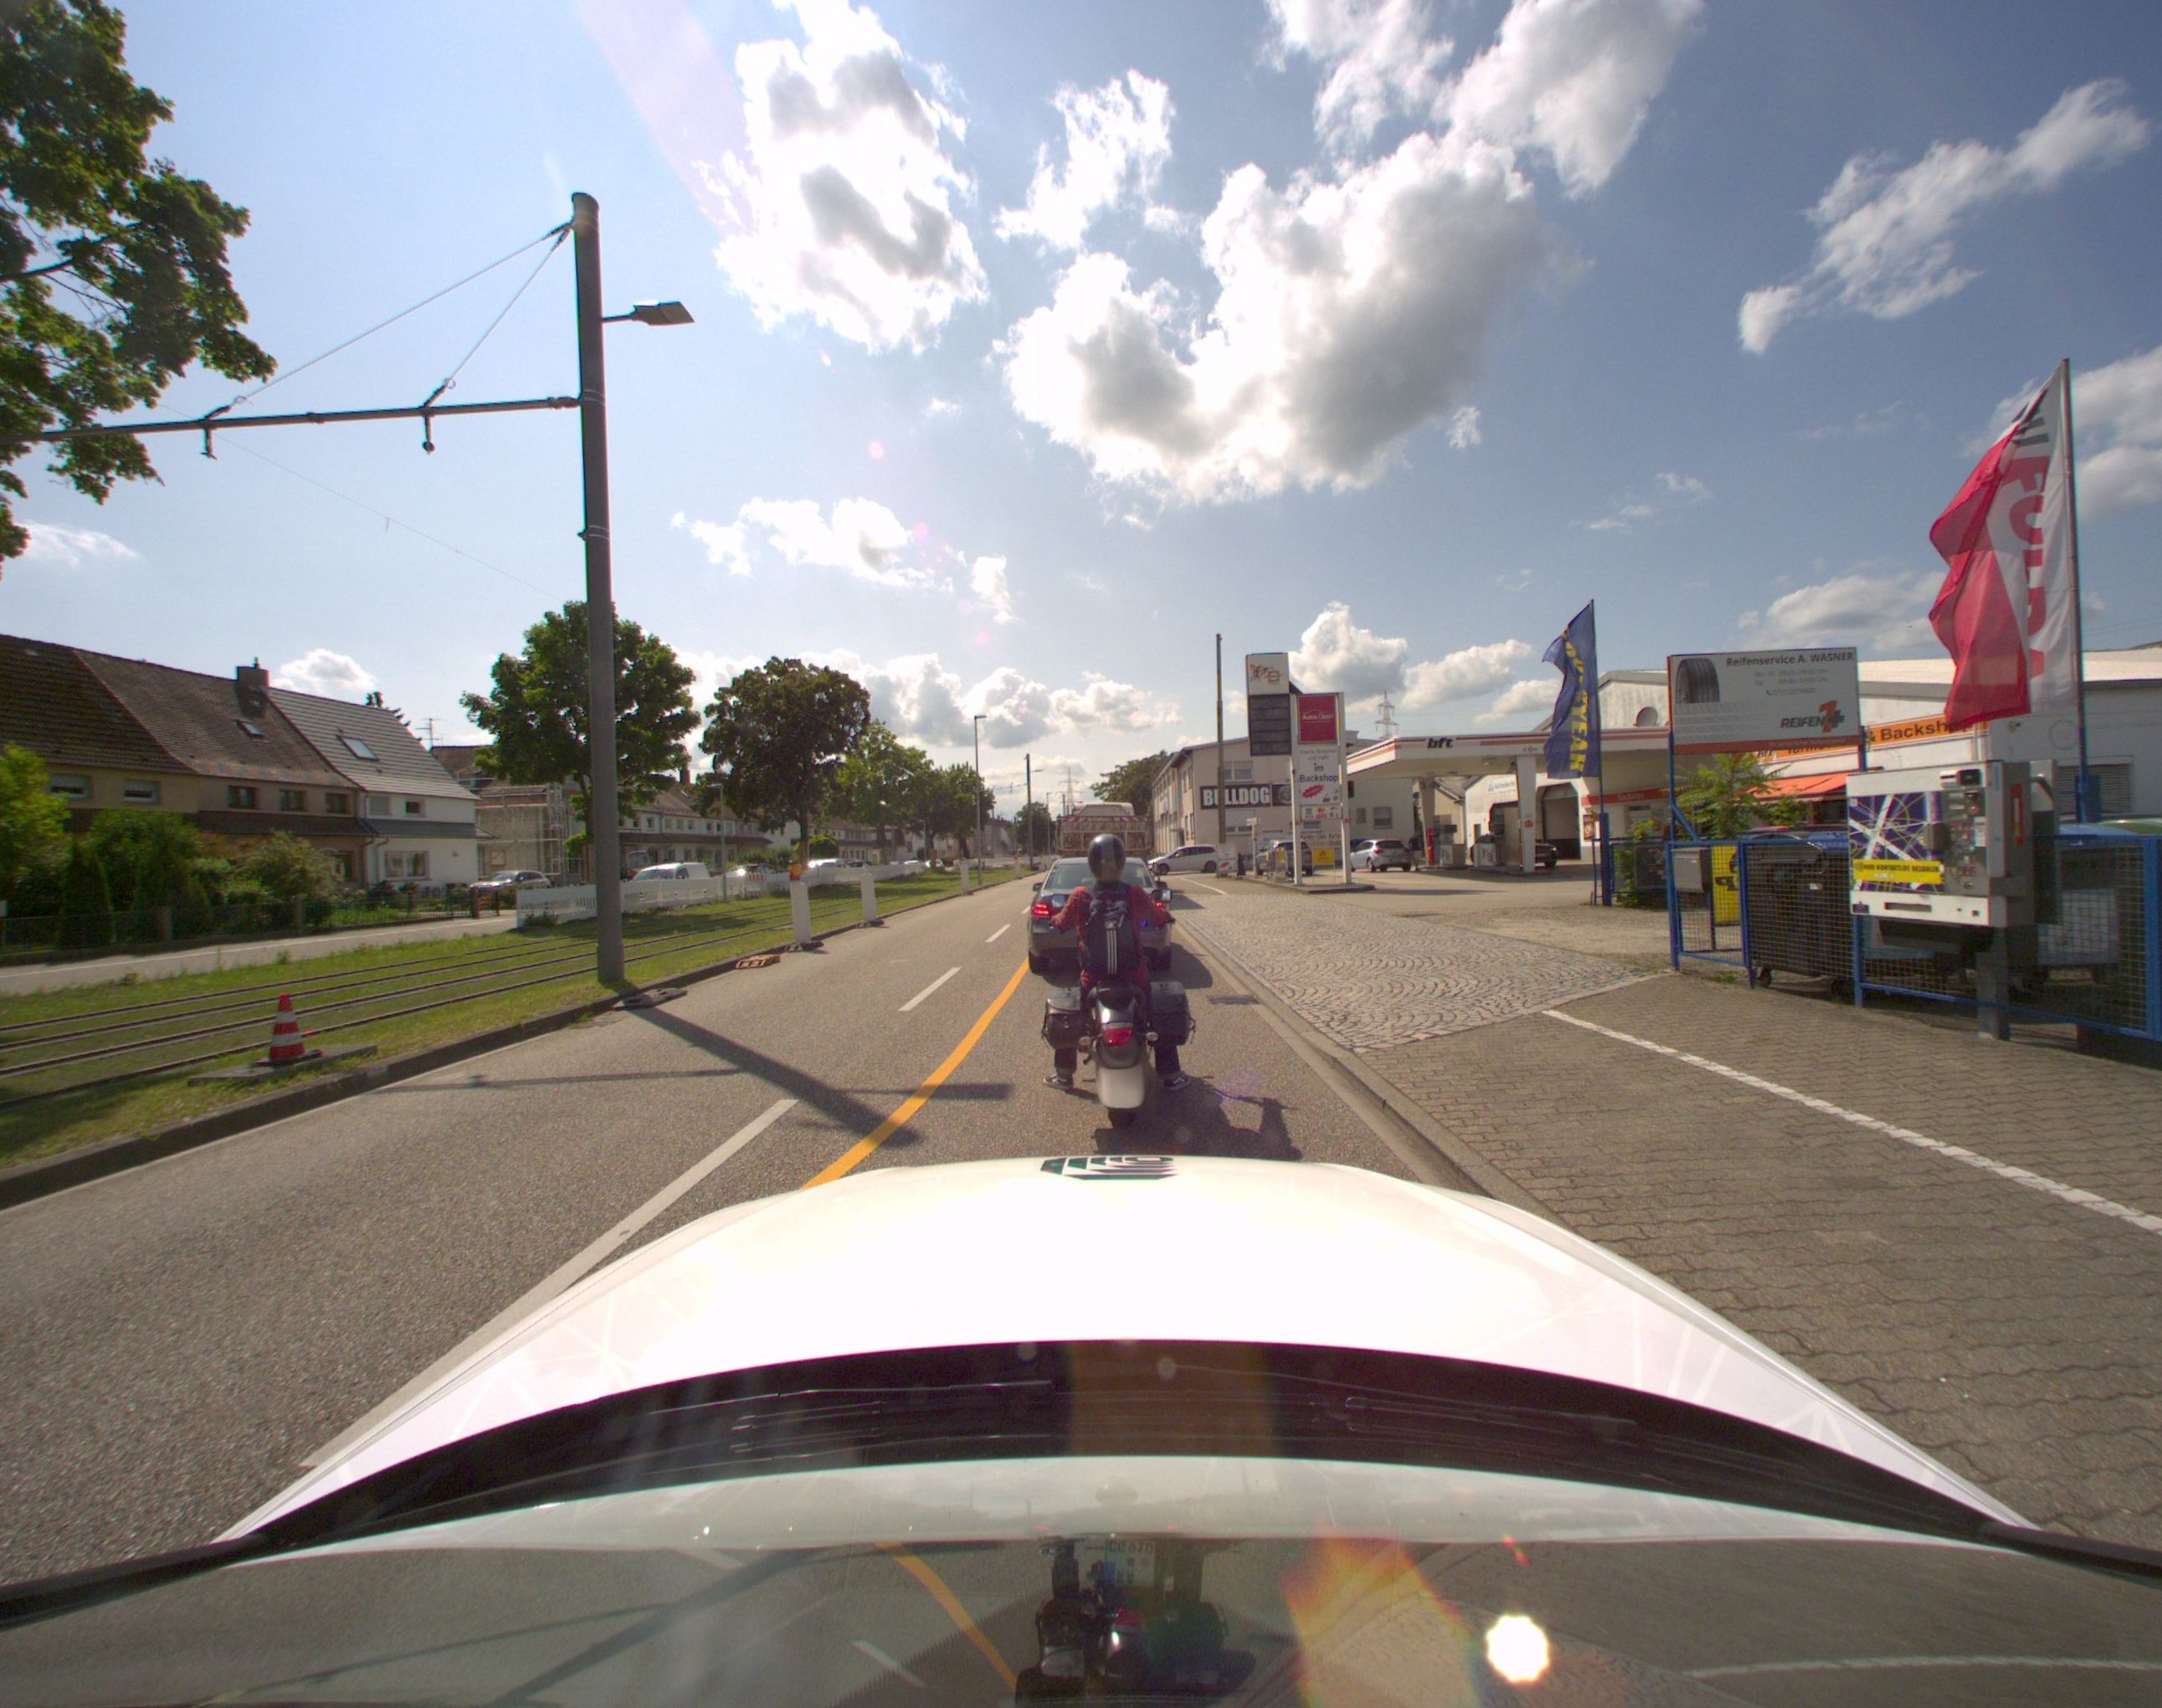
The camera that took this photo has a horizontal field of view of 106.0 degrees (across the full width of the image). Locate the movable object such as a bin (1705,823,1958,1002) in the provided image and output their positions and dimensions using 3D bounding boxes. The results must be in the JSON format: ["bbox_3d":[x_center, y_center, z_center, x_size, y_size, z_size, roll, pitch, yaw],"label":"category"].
[{"bbox_3d":[6.687,0.479,7.359,1.104,1.436,1.244,-2,0,1],"label":"movable object such as a bin"}]

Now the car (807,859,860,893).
[{"bbox_3d":[-15.065,1.327,49.862,1.769,1.867,4.130,-2,0,2],"label":"car"}]

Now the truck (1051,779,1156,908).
[{"bbox_3d":[0.726,-0.288,25.500,2.628,3.296,8.059,-2,0,2],"label":"truck"}]

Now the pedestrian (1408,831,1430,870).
[{"bbox_3d":[14.651,-0.133,35.318,0.701,1.656,0.551,-2,0,37],"label":"pedestrian"}]

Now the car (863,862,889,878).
[{"bbox_3d":[-24.388,1.835,97.044,1.769,1.722,4.130,-2,0,2],"label":"car"}]

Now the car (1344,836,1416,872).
[{"bbox_3d":[13.475,-0.009,36.920,1.800,1.503,3.832,-2,0,-1],"label":"car"}]

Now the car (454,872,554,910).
[{"bbox_3d":[-27.438,1.726,38.896,1.769,1.519,4.002,-2,0,2],"label":"car"}]

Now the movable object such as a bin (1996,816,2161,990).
[{"bbox_3d":[9.484,0.375,7.131,1.397,1.396,1.338,-2,0,1],"label":"movable object such as a bin"}]

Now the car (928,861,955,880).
[{"bbox_3d":[-13.728,1.629,80.456,1.769,1.722,4.130,-2,0,2],"label":"car"}]

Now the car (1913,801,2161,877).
[{"bbox_3d":[21.520,-0.341,18.165,4.180,1.463,1.587,-2,0,2],"label":"car"}]

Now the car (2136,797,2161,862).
[{"bbox_3d":[26.524,-0.637,18.001,4.180,1.463,1.587,-2,0,2],"label":"car"}]

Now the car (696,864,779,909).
[{"bbox_3d":[-15.408,1.411,36.800,1.769,1.774,4.230,-2,0,2],"label":"car"}]

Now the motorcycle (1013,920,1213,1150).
[{"bbox_3d":[0.202,1.026,5.445,0.975,0.897,2.654,-2,0,2],"label":"motorcycle"}]

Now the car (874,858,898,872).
[{"bbox_3d":[-25.159,1.398,105.205,1.769,1.722,4.130,-2,0,2],"label":"car"}]

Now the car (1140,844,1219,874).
[{"bbox_3d":[5.686,0.290,47.038,4.225,1.543,1.669,-2,0,-7],"label":"car"}]

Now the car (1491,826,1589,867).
[{"bbox_3d":[18.648,-0.285,33.311,1.800,1.503,3.833,-2,0,0],"label":"car"}]

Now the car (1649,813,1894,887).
[{"bbox_3d":[15.772,-0.089,18.758,4.180,1.463,1.587,-2,0,2],"label":"car"}]

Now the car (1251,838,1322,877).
[{"bbox_3d":[9.115,0.149,36.453,1.665,1.562,4.235,-2,0,-6],"label":"car"}]

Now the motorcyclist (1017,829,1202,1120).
[{"bbox_3d":[0.177,0.677,5.141,0.975,1.602,1.088,-2,0,1],"label":"motorcyclist"}]

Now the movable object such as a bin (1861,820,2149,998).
[{"bbox_3d":[8.081,0.445,7.219,1.104,1.396,1.244,-2,0,1],"label":"movable object such as a bin"}]

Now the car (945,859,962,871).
[{"bbox_3d":[-19.631,1.629,125.918,1.769,1.722,4.130,-2,0,2],"label":"car"}]

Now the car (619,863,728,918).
[{"bbox_3d":[-15.434,1.316,31.157,1.769,1.821,4.366,-2,0,2],"label":"car"}]

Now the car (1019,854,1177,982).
[{"bbox_3d":[0.256,0.743,11.416,1.816,1.452,4.002,0,0,2],"label":"car"}]

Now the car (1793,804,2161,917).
[{"bbox_3d":[13.470,0.076,11.998,4.249,1.415,1.677,-3,0,7],"label":"car"}]

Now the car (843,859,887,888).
[{"bbox_3d":[-14.805,1.334,56.039,1.769,1.805,4.130,-2,0,2],"label":"car"}]
